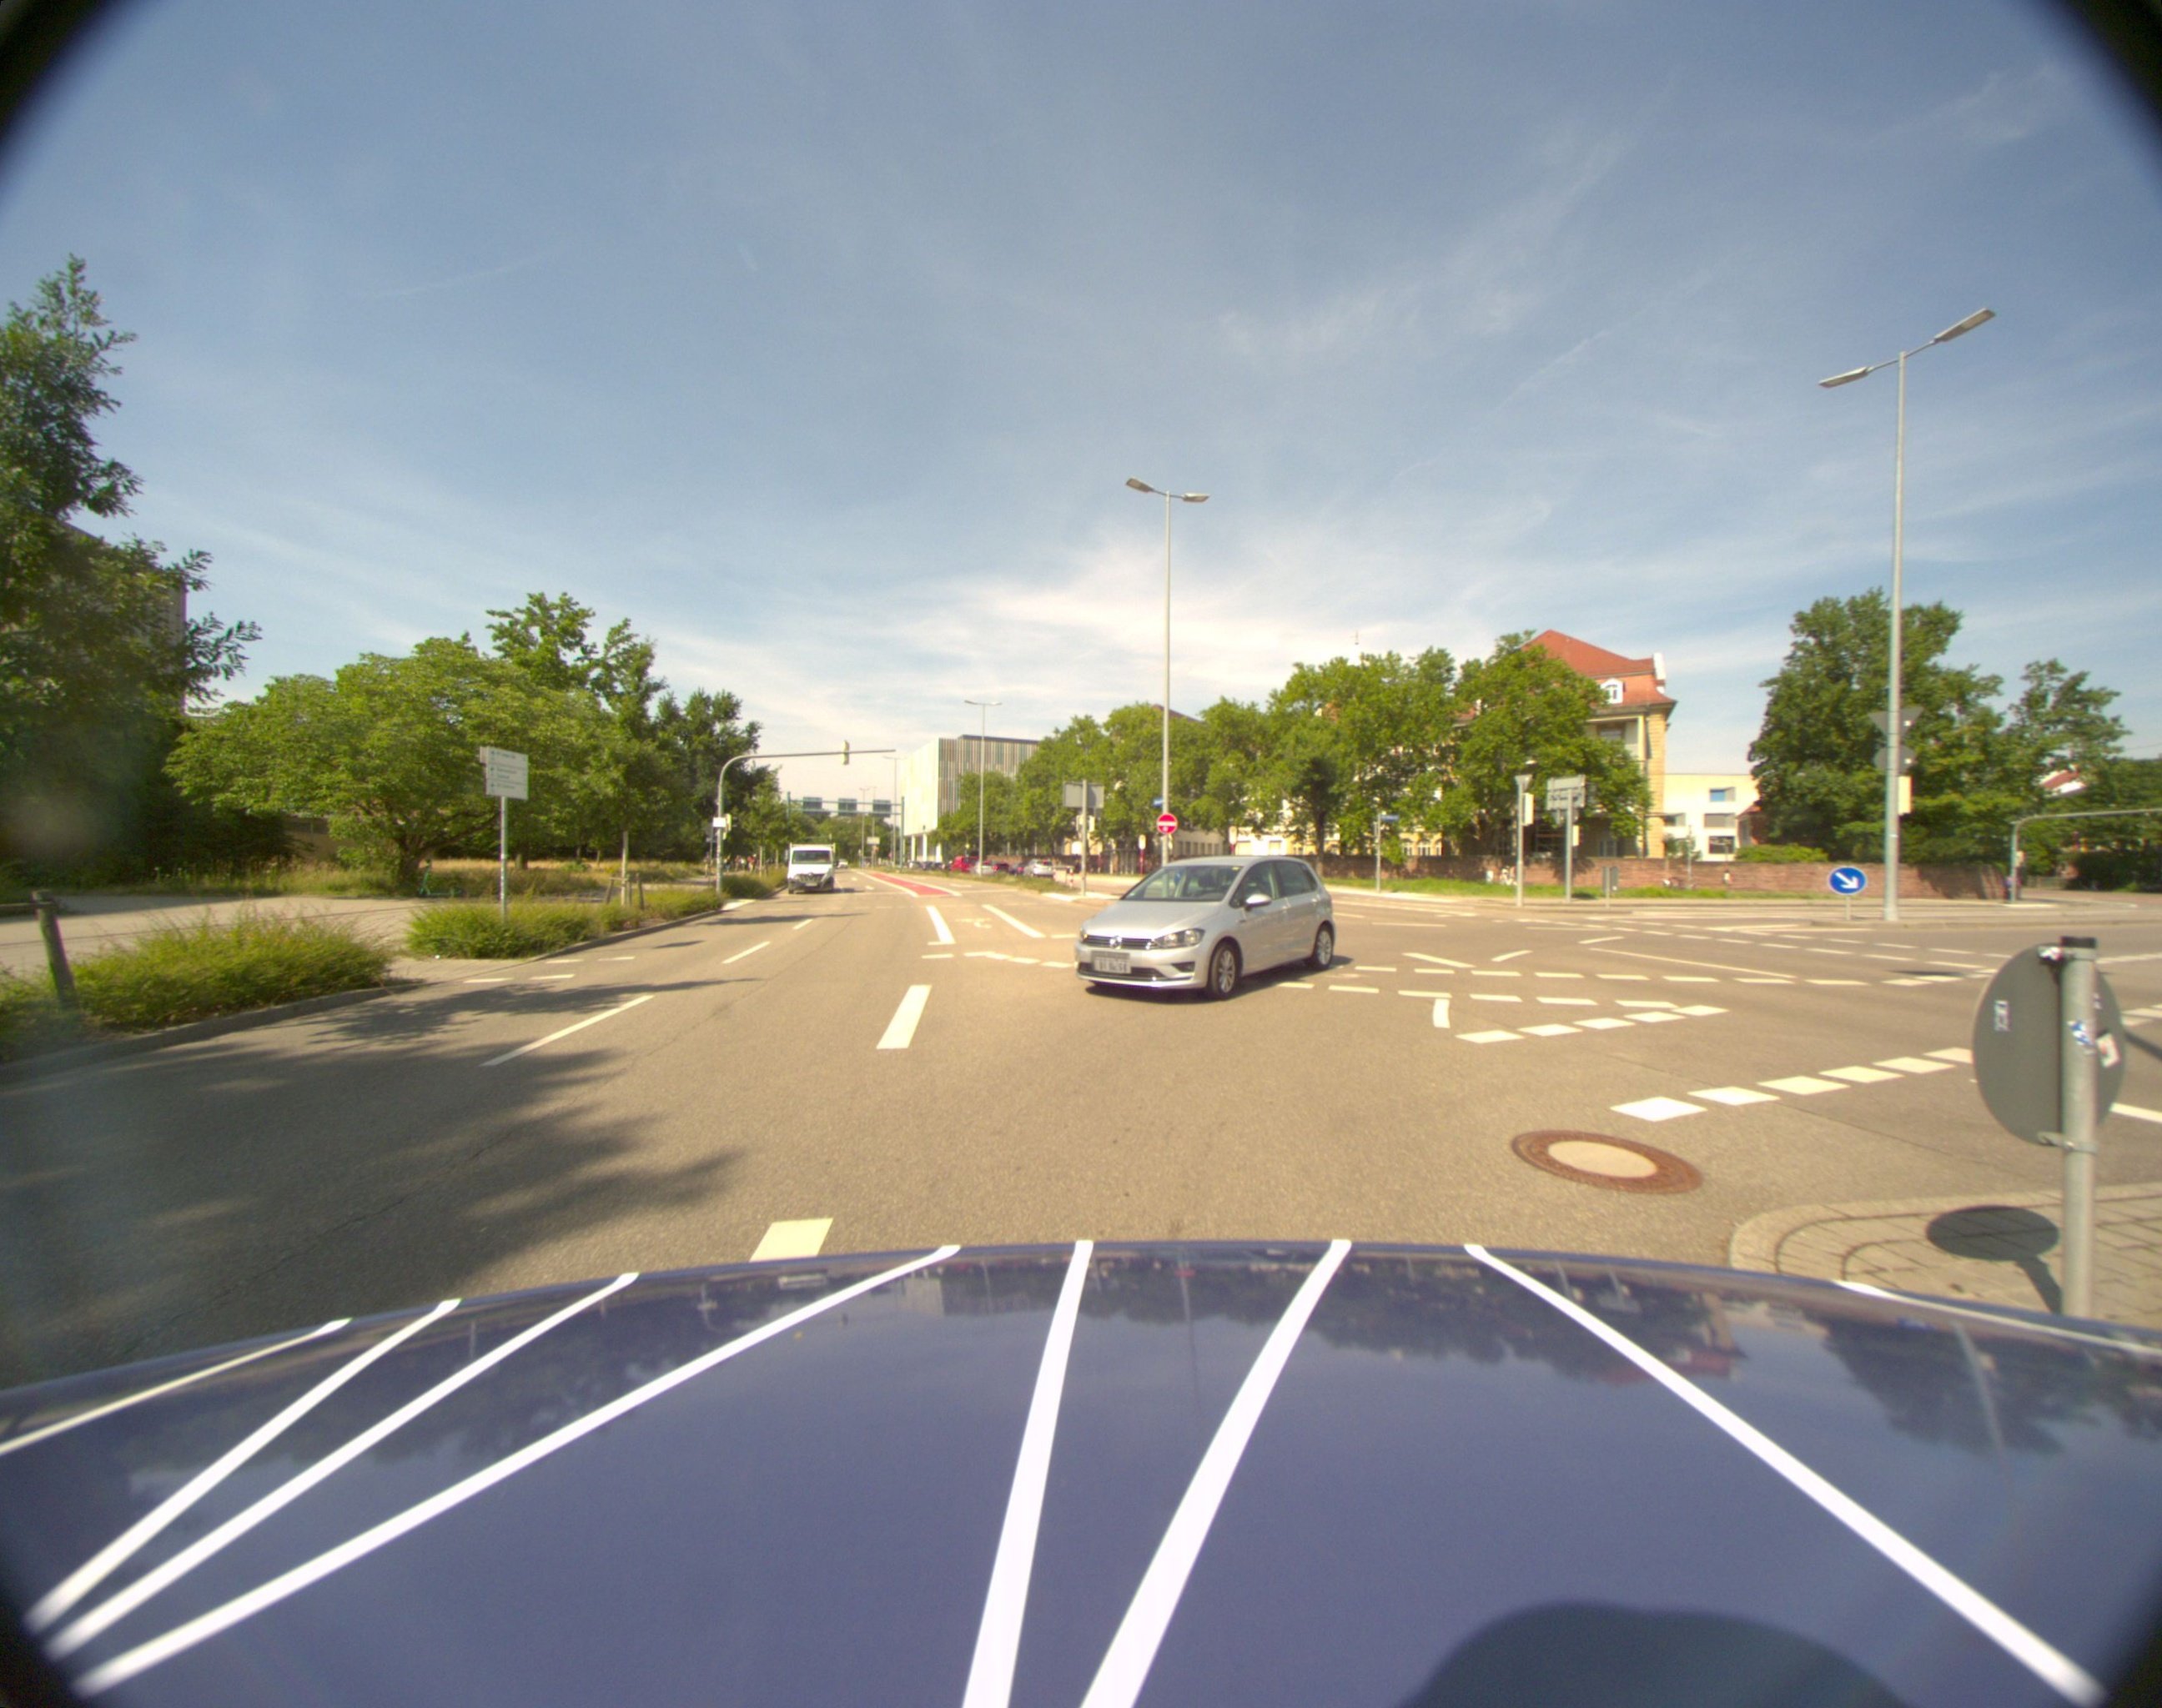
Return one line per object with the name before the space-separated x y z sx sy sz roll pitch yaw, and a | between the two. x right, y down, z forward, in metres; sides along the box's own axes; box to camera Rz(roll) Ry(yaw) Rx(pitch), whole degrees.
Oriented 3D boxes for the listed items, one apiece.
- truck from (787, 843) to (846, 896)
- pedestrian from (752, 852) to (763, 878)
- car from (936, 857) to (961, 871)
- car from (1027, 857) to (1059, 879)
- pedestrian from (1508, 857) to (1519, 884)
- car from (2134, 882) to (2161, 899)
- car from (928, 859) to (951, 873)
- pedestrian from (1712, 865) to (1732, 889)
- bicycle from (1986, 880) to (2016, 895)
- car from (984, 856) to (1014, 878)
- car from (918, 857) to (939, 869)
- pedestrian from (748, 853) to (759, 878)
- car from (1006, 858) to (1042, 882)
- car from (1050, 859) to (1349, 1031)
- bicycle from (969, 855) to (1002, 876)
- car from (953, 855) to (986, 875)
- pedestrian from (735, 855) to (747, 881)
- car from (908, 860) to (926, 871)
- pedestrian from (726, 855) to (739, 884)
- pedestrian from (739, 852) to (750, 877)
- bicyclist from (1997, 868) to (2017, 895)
truck | -13.119 0.653 37.390 2.416 2.342 7.034 -1 1 -22
pedestrian | -32.255 1.104 75.855 0.955 2.518 1.122 1 -2 -22
car | -14.383 1.063 82.155 1.802 1.501 3.992 -1 1 -22
car | -3.066 1.086 60.147 1.712 1.608 4.211 1 0 -15
pedestrian | 31.385 1.188 55.152 0.594 2.002 0.524 1 0 27
car | 116.633 3.903 81.381 3.989 1.652 2.004 -2 0 32
car | -16.573 1.360 88.853 1.802 1.501 3.992 -1 1 -22
pedestrian | 42.192 1.524 49.983 0.911 1.539 0.504 1 0 31
bicycle | 56.488 2.065 46.631 1.935 0.882 0.684 1 0 -24
car | -7.839 1.278 72.309 2.002 2.001 3.994 1 -3 -20
car | -19.724 1.154 97.987 1.802 1.501 3.992 -1 1 -24
pedestrian | -33.254 1.184 77.186 0.955 2.518 1.122 1 -2 -22
car | -4.961 1.418 65.613 2.002 2.001 3.994 1 -3 -20
car | 1.666 0.889 9.405 1.684 1.577 4.160 1 1 41
bicycle | -8.352 0.960 66.304 2.002 1.804 3.993 1 0 -20
car | -10.628 1.003 71.978 1.982 1.786 4.602 1 0 -23
pedestrian | -33.167 1.373 74.177 0.955 2.518 1.122 1 -2 -22
car | -23.878 1.710 110.541 1.802 1.501 3.992 -1 1 -24
pedestrian | -31.165 1.384 67.895 0.955 2.518 1.122 1 -2 -22
pedestrian | -33.466 1.055 75.615 0.955 2.518 1.122 1 -2 -22
bicyclist | 57.114 1.701 46.872 1.086 1.627 0.487 1 0 -25
